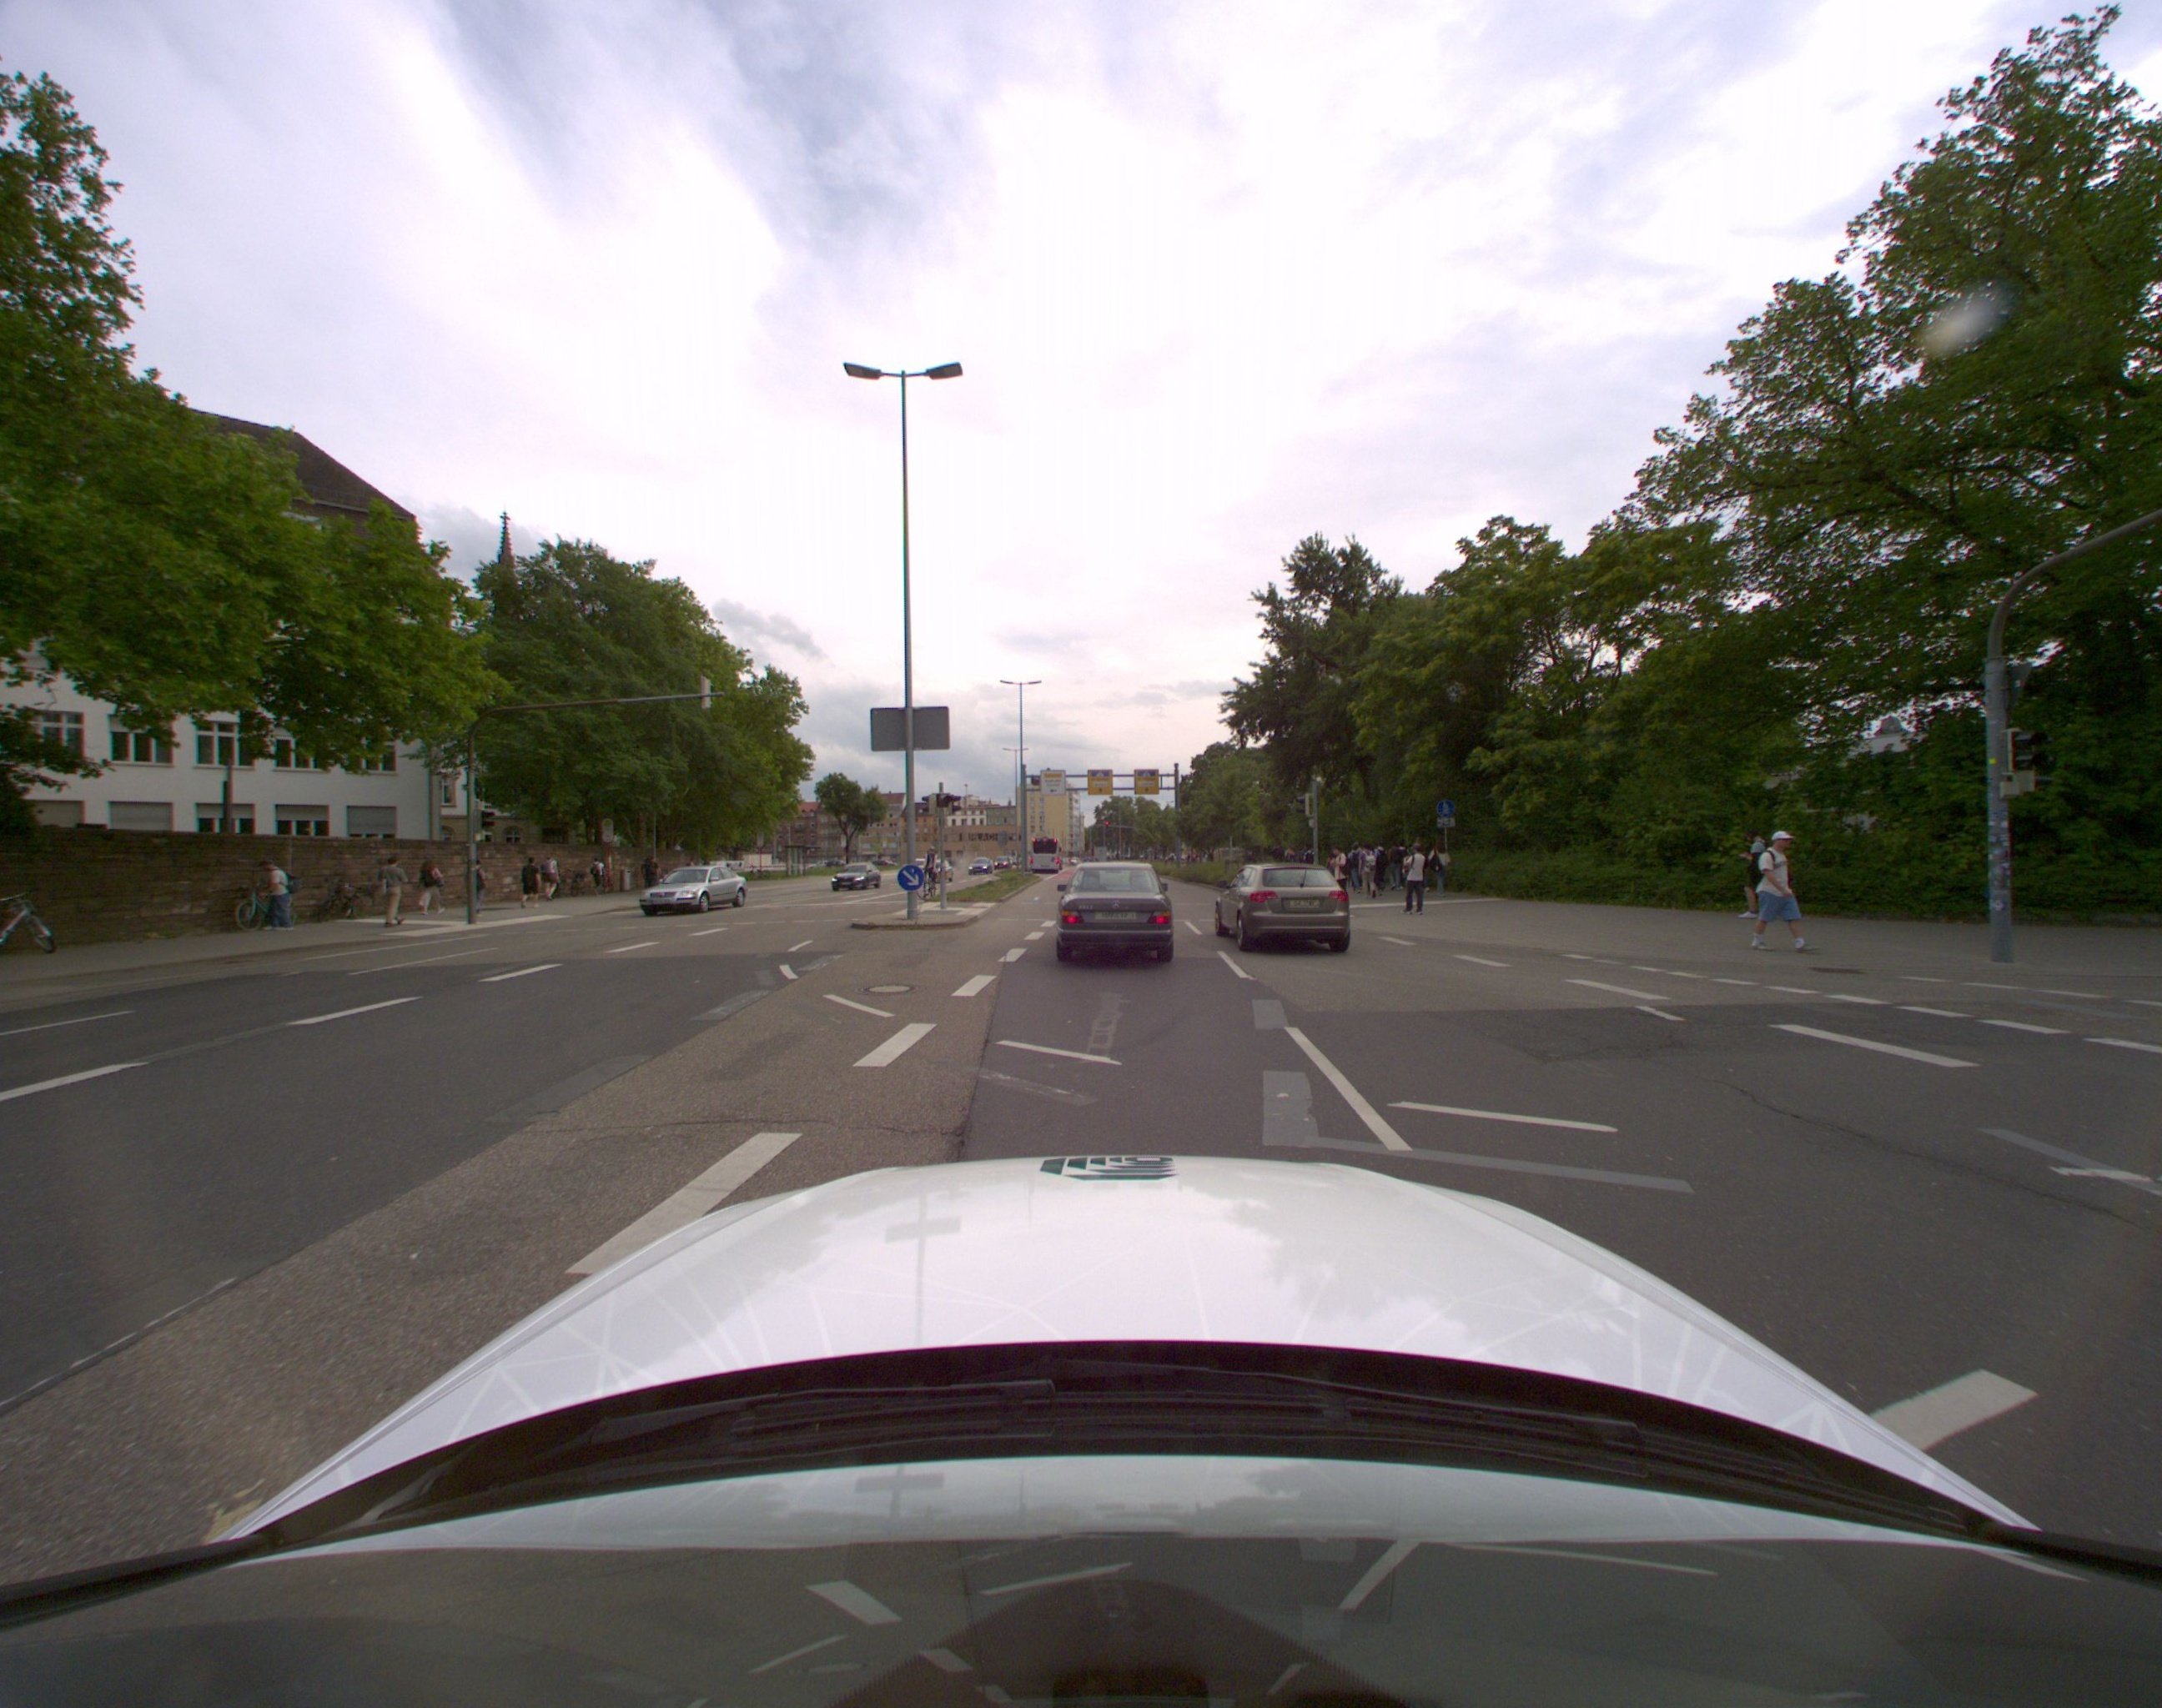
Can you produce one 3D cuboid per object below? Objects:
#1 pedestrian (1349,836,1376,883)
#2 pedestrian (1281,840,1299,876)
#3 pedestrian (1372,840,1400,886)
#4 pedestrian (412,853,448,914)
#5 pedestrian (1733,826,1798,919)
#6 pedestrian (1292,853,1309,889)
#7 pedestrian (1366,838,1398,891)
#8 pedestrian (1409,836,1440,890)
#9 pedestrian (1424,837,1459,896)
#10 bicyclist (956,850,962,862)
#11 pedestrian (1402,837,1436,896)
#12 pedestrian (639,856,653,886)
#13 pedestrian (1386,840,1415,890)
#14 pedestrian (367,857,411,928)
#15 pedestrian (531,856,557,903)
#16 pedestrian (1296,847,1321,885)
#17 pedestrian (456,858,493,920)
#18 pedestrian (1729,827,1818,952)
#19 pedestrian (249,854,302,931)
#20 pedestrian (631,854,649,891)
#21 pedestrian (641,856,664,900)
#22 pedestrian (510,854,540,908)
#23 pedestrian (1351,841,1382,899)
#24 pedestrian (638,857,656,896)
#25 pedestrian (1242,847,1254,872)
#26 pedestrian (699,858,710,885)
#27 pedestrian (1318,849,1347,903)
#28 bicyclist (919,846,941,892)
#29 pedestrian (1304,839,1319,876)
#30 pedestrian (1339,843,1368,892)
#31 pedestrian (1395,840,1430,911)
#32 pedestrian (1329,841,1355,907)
[{"bbox_3d":[10.419,0.199,30.195,0.655,1.689,0.841,-1,0,-2],"label":"pedestrian"},{"bbox_3d":[10.271,0.185,40.040,0.617,1.735,0.814,-1,0,0],"label":"pedestrian"},{"bbox_3d":[11.326,0.323,30.259,0.655,1.667,0.970,-1,0,-2],"label":"pedestrian"},{"bbox_3d":[-19.674,0.887,24.621,0.764,1.782,0.776,0,-2,-32],"label":"pedestrian"},{"bbox_3d":[13.541,0.351,16.129,0.643,1.795,0.739,-1,0,-3],"label":"pedestrian"},{"bbox_3d":[10.235,0.769,38.017,0.554,1.655,0.753,-1,0,0],"label":"pedestrian"},{"bbox_3d":[10.397,0.351,28.135,0.655,1.766,0.957,-2,0,-2],"label":"pedestrian"},{"bbox_3d":[11.338,0.278,26.900,0.655,1.745,0.779,-1,0,-2],"label":"pedestrian"},{"bbox_3d":[10.887,0.381,24.602,0.655,1.745,0.779,-1,0,-2],"label":"pedestrian"},{"bbox_3d":[-14.451,0.251,96.266,0.578,1.419,0.811,-1,0,0],"label":"bicyclist"},{"bbox_3d":[10.201,0.377,24.574,0.655,1.745,0.779,-1,0,-2],"label":"pedestrian"},{"bbox_3d":[-23.470,0.938,43.944,0.588,1.592,0.730,0,-2,-23],"label":"pedestrian"},{"bbox_3d":[11.076,0.373,28.222,0.655,1.699,0.779,-1,0,-2],"label":"pedestrian"},{"bbox_3d":[-17.798,0.983,20.956,0.750,1.782,0.776,0,-2,-33],"label":"pedestrian"},{"bbox_3d":[-20.715,0.972,31.454,0.763,1.782,0.906,0,-2,-29],"label":"pedestrian"},{"bbox_3d":[9.608,0.501,34.431,0.773,1.602,0.812,-1,0,0],"label":"pedestrian"},{"bbox_3d":[-17.927,1.018,24.087,0.763,1.782,0.776,0,-2,-30],"label":"pedestrian"},{"bbox_3d":[10.667,0.527,12.570,0.646,1.852,0.825,0,-1,-15],"label":"pedestrian"},{"bbox_3d":[-19.280,0.912,19.508,0.750,1.782,0.775,0,-2,-35],"label":"pedestrian"},{"bbox_3d":[-21.525,0.920,39.785,0.763,1.782,0.776,0,-2,-29],"label":"pedestrian"},{"bbox_3d":[-17.367,0.967,32.996,0.762,1.782,0.716,0,-2,-24],"label":"pedestrian"},{"bbox_3d":[-18.669,0.894,27.358,0.763,1.782,0.776,0,-2,-29],"label":"pedestrian"},{"bbox_3d":[8.777,0.472,25.036,0.622,1.745,0.779,-1,0,-2],"label":"pedestrian"},{"bbox_3d":[-20.349,1.037,38.178,0.763,1.782,0.915,0,-2,-29],"label":"pedestrian"},{"bbox_3d":[11.235,0.351,54.778,0.585,1.683,0.748,-1,0,0],"label":"pedestrian"},{"bbox_3d":[-23.665,1.108,51.215,0.561,1.668,0.623,0,-2,-17],"label":"pedestrian"},{"bbox_3d":[8.230,0.715,26.678,0.655,1.745,0.779,-1,0,-2],"label":"pedestrian"},{"bbox_3d":[-5.154,0.504,27.882,0.569,1.574,0.700,-1,0,4],"label":"bicyclist"},{"bbox_3d":[11.090,0.152,39.150,0.482,1.763,0.664,-1,0,0],"label":"pedestrian"},{"bbox_3d":[9.365,0.441,27.996,0.655,1.648,0.811,-1,0,-2],"label":"pedestrian"},{"bbox_3d":[8.004,0.513,19.696,0.544,1.687,0.636,-1,0,-3],"label":"pedestrian"},{"bbox_3d":[6.986,0.528,21.818,0.453,1.735,0.636,-1,0,-2],"label":"pedestrian"}]
